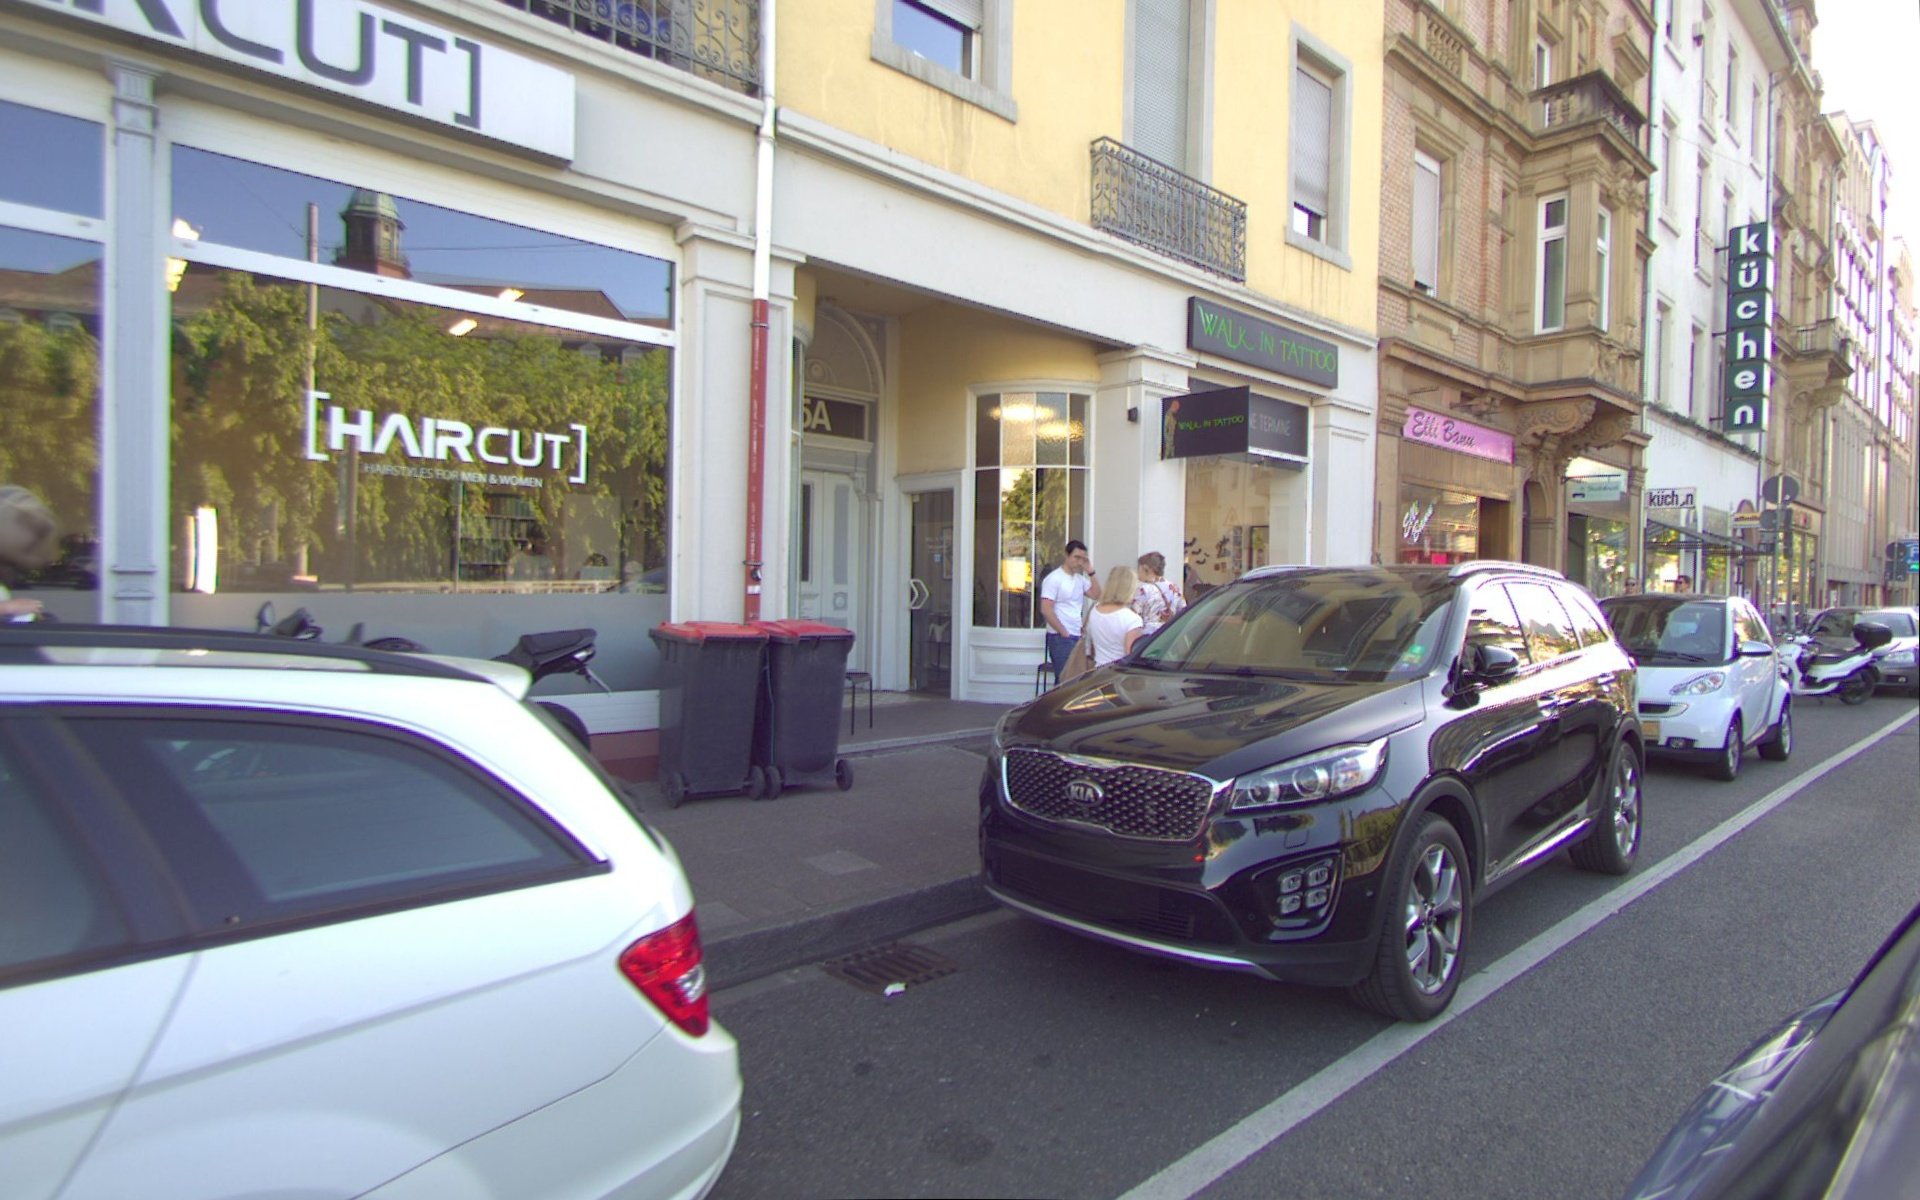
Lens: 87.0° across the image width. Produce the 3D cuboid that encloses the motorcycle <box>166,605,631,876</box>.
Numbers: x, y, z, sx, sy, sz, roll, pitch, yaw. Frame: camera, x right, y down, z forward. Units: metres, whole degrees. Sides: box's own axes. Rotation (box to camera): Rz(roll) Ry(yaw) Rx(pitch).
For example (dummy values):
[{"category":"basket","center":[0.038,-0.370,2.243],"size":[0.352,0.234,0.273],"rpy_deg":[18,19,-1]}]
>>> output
[{"category":"motorcycle","center":[-2.729,0.594,5.106],"size":[1.974,1.105,0.551],"rpy_deg":[0,2,-42]}]

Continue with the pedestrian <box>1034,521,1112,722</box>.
[{"category":"pedestrian","center":[0.972,0.180,8.728],"size":[0.513,1.681,0.339],"rpy_deg":[1,1,-25]}]

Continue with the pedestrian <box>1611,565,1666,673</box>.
[{"category":"pedestrian","center":[10.591,0.281,15.808],"size":[0.610,1.653,0.460],"rpy_deg":[0,0,19]}]

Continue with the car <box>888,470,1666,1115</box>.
[{"category":"car","center":[1.922,0.508,4.975],"size":[4.497,1.758,1.756],"rpy_deg":[0,1,-45]}]

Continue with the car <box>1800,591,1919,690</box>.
[{"category":"car","center":[16.045,0.622,17.593],"size":[4.095,1.537,1.735],"rpy_deg":[0,1,-43]}]

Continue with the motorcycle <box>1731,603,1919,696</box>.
[{"category":"motorcycle","center":[12.935,0.712,15.064],"size":[2.137,1.295,0.866],"rpy_deg":[1,0,8]}]

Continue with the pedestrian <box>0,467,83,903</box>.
[{"category":"pedestrian","center":[-3.886,0.312,4.068],"size":[0.523,1.653,0.697],"rpy_deg":[0,2,-42]}]

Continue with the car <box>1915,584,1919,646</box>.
[{"category":"car","center":[28.654,0.434,28.721],"size":[3.979,1.711,1.894],"rpy_deg":[0,1,-41]}]

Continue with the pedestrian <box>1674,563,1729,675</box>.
[{"category":"pedestrian","center":[11.157,0.282,15.236],"size":[0.406,1.653,0.516],"rpy_deg":[0,0,-15]}]

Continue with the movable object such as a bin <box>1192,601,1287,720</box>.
[{"category":"movable object such as a bin","center":[2.725,0.567,9.875],"size":[0.608,1.079,0.606],"rpy_deg":[1,3,-40]}]

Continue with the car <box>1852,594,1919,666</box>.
[{"category":"car","center":[20.499,0.598,21.588],"size":[3.736,1.435,1.736],"rpy_deg":[0,1,-41]}]

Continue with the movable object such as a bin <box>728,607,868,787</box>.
[{"category":"movable object such as a bin","center":[-1.047,0.585,6.502],"size":[0.608,1.037,0.669],"rpy_deg":[1,3,-38]}]

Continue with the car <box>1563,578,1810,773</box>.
[{"category":"car","center":[6.771,0.583,9.362],"size":[2.746,1.537,1.274],"rpy_deg":[0,0,-41]}]

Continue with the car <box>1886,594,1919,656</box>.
[{"category":"car","center":[23.780,0.585,24.394],"size":[3.736,1.435,1.736],"rpy_deg":[0,1,-41]}]

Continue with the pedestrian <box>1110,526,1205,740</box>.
[{"category":"pedestrian","center":[1.617,0.250,8.300],"size":[0.582,1.681,0.451],"rpy_deg":[1,1,-39]}]

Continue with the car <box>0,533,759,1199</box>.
[{"category":"car","center":[-2.583,0.643,1.084],"size":[4.387,1.465,1.741],"rpy_deg":[0,1,-42]}]

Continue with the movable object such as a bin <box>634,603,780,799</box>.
[{"category":"movable object such as a bin","center":[-1.531,0.570,6.099],"size":[0.608,1.054,0.661],"rpy_deg":[1,3,-38]}]

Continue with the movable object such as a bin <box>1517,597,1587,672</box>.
[{"category":"movable object such as a bin","center":[9.122,0.519,15.599],"size":[0.608,1.084,0.716],"rpy_deg":[1,3,-40]}]

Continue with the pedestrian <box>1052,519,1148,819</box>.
[{"category":"pedestrian","center":[0.879,0.406,6.342],"size":[0.432,1.785,0.476],"rpy_deg":[0,0,34]}]
